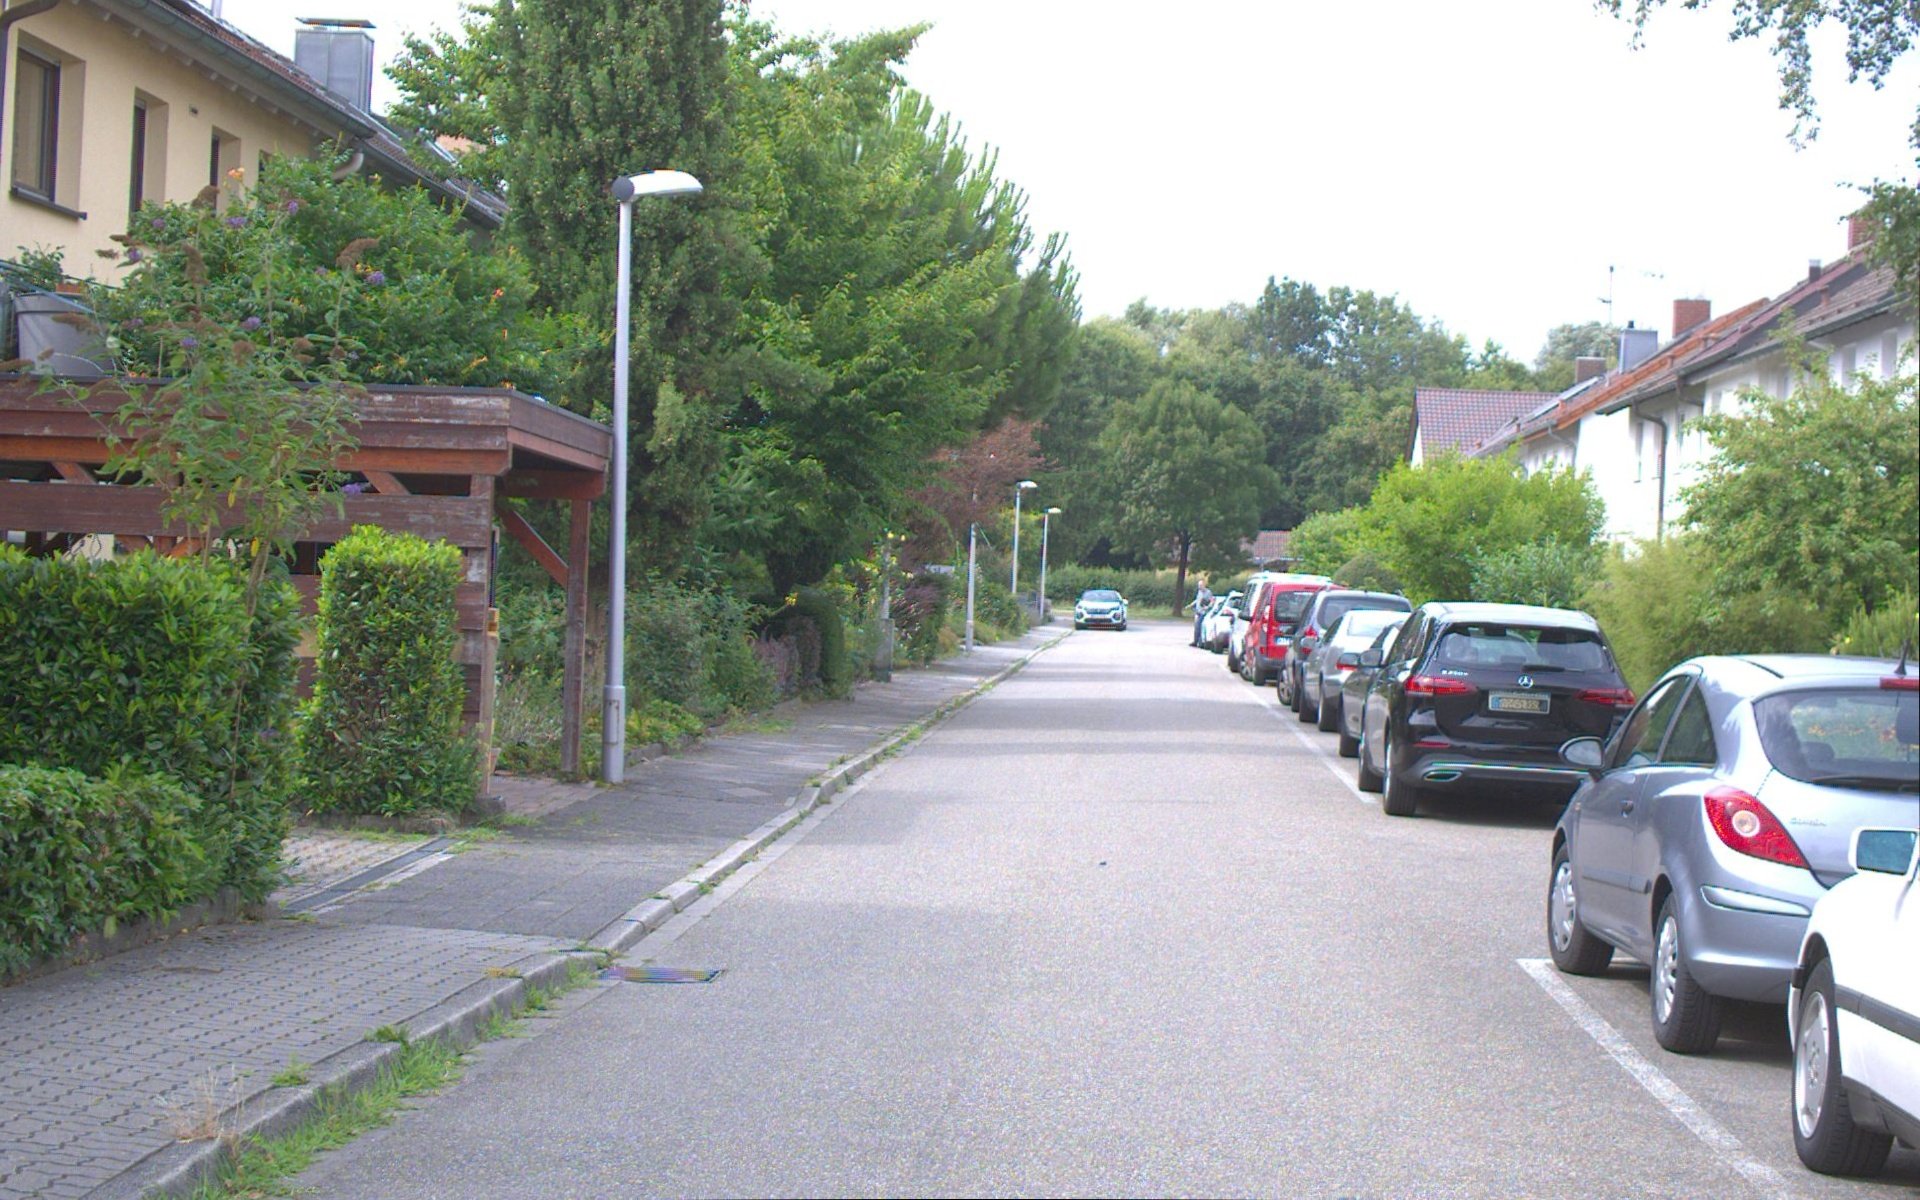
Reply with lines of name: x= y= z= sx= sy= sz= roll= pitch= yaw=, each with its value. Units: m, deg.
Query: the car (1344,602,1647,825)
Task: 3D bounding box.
car: x=3.984 y=0.787 z=26.243 sx=1.749 sy=1.462 sz=4.647 roll=2 pitch=0 yaw=3

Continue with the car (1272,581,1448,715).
car: x=5.310 y=0.599 z=46.161 sx=1.867 sy=1.648 sz=4.464 roll=2 pitch=0 yaw=1

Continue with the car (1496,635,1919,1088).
car: x=3.363 y=0.947 z=13.937 sx=1.703 sy=1.437 sz=4.220 roll=3 pitch=0 yaw=1

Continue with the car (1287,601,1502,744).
car: x=4.950 y=0.789 z=39.732 sx=1.867 sy=1.402 sz=4.767 roll=4 pitch=0 yaw=1

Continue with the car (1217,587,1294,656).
car: x=7.264 y=0.508 z=84.801 sx=1.714 sy=1.538 sz=3.973 roll=4 pitch=0 yaw=4

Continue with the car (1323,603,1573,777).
car: x=4.451 y=0.781 z=31.882 sx=1.733 sy=1.423 sz=4.126 roll=2 pitch=0 yaw=1

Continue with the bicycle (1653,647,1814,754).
bicycle: x=7.859 y=1.019 z=34.973 sx=1.539 sy=1.019 sz=0.376 roll=2 pitch=0 yaw=9

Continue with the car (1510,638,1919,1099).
car: x=3.312 y=0.957 z=13.892 sx=1.742 sy=1.466 sz=4.216 roll=2 pitch=1 yaw=4

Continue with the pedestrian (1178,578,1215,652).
pedestrian: x=6.492 y=0.406 z=94.419 sx=0.912 sy=2.007 sz=0.951 roll=2 pitch=0 yaw=0

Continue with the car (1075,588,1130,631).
car: x=5.395 y=0.348 z=129.944 sx=1.934 sy=1.551 sz=4.633 roll=2 pitch=0 yaw=4

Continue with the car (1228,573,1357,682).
car: x=6.268 y=0.492 z=65.307 sx=2.020 sy=1.940 sz=4.747 roll=2 pitch=0 yaw=1

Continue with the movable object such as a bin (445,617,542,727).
movable object such as a bin: x=-4.206 y=0.641 z=31.009 sx=0.712 sy=0.953 sz=0.751 roll=2 pitch=0 yaw=3

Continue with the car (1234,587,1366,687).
car: x=5.923 y=0.617 z=60.319 sx=1.810 sy=1.645 sz=4.411 roll=1 pitch=0 yaw=0

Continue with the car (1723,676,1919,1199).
car: x=3.156 y=0.961 z=8.346 sx=1.693 sy=1.360 sz=4.698 roll=2 pitch=0 yaw=2
